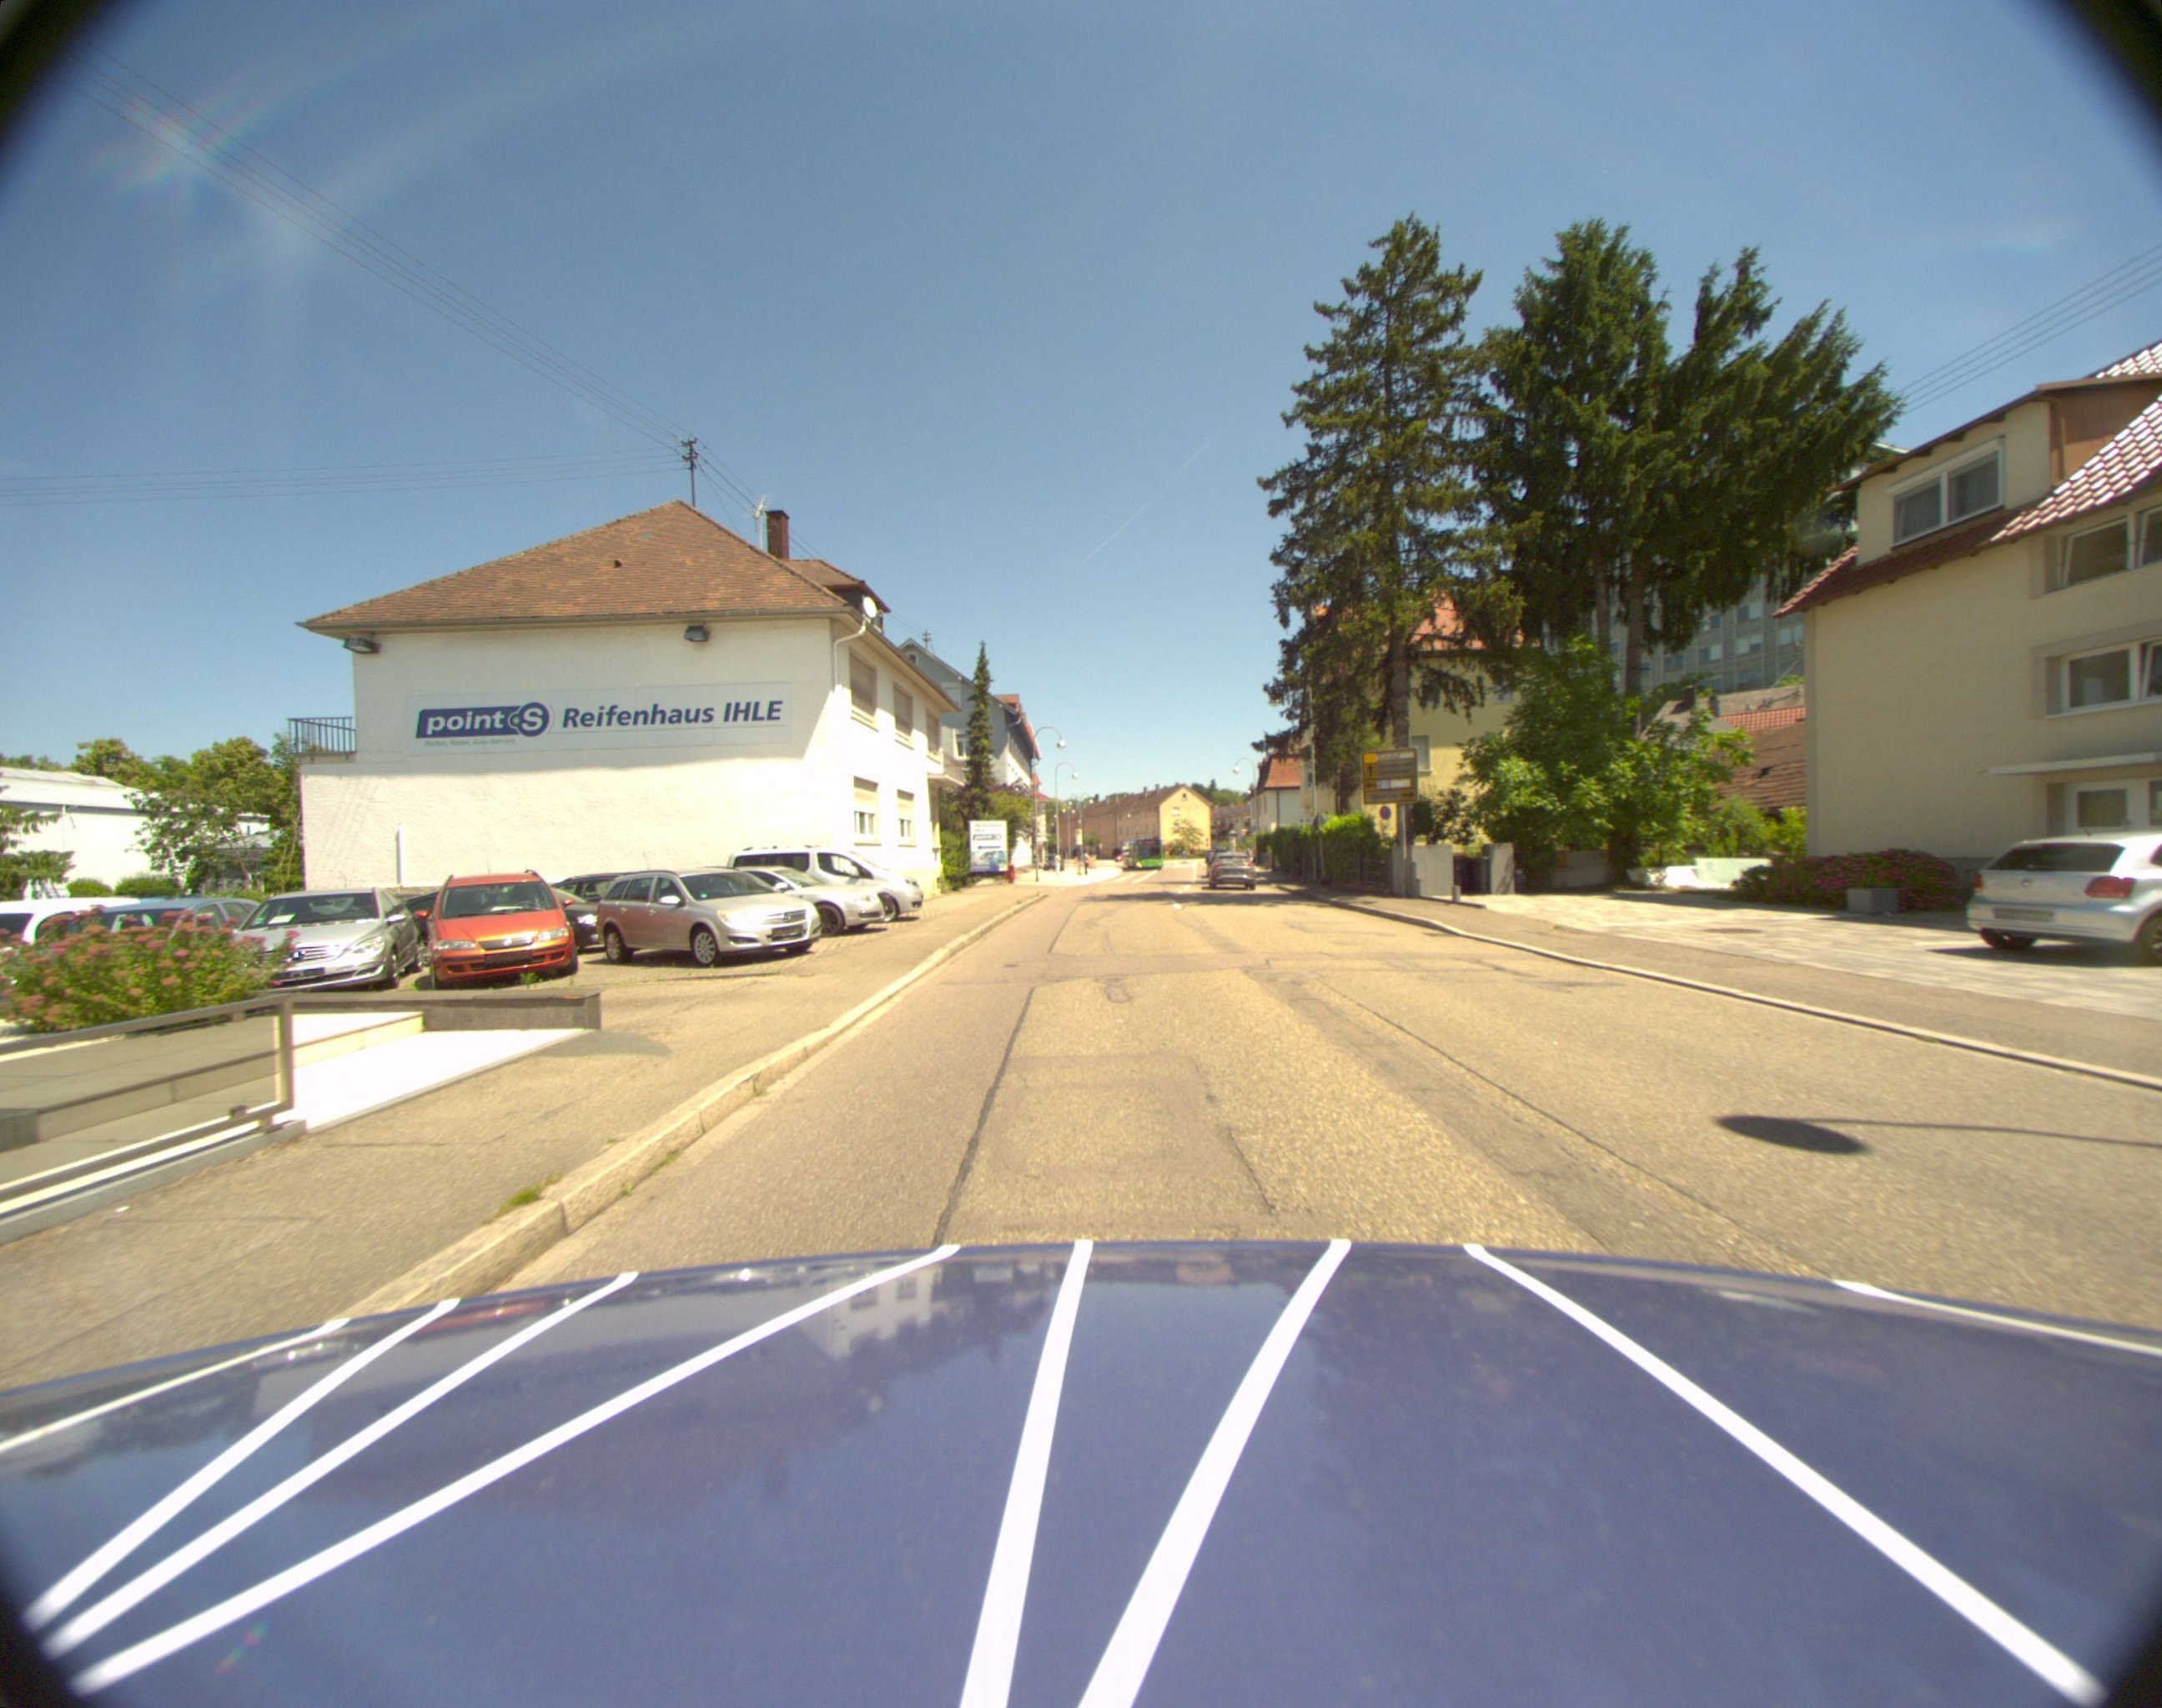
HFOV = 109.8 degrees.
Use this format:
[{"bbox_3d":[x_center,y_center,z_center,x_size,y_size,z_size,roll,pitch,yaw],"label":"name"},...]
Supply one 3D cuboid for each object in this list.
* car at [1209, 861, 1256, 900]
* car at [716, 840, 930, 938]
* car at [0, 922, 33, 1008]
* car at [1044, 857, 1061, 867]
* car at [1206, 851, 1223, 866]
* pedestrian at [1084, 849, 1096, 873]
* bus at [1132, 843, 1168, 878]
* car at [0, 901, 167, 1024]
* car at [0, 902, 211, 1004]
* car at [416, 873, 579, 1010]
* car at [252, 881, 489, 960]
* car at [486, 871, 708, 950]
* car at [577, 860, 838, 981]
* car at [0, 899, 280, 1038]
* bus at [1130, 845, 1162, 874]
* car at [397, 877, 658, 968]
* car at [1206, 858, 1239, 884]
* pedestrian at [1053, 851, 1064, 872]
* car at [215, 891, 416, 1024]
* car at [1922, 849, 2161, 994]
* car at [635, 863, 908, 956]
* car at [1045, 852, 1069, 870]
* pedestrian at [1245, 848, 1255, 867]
[{"bbox_3d":[6.423,1.073,32.569,1.744,1.496,4.145,0,0,8],"label":"car"},{"bbox_3d":[-5.857,0.776,17.695,4.303,1.820,1.738,-4,0,-6],"label":"car"},{"bbox_3d":[-19.621,2.036,12.215,1.557,1.523,3.555,-6,1,-24],"label":"car"},{"bbox_3d":[-4.393,1.186,116.893,1.827,1.403,3.995,0,1,-12],"label":"car"},{"bbox_3d":[15.603,0.484,88.947,1.857,1.607,4.299,-2,0,9],"label":"car"},{"bbox_3d":[0.659,0.523,58.514,0.751,1.795,0.615,2,1,-12],"label":"pedestrian"},{"bbox_3d":[6.835,0.604,76.739,2.910,3.062,12.565,-3,0,2],"label":"bus"},{"bbox_3d":[-17.101,1.724,12.085,1.626,1.714,3.838,-5,0,-24],"label":"car"},{"bbox_3d":[-21.827,2.112,16.208,3.998,1.783,1.999,-3,1,-2],"label":"car"},{"bbox_3d":[-9.263,1.220,11.938,1.641,1.633,4.293,-5,1,-41],"label":"car"},{"bbox_3d":[-16.362,1.516,17.600,3.993,1.477,2.001,-3,1,12],"label":"car"},{"bbox_3d":[-11.163,1.280,17.643,3.993,1.477,2.001,-3,1,12],"label":"car"},{"bbox_3d":[-6.111,1.023,12.264,4.293,1.539,1.759,-4,1,34],"label":"car"},{"bbox_3d":[-14.392,1.597,11.773,1.627,1.553,3.765,-5,1,-30],"label":"car"},{"bbox_3d":[7.505,0.655,89.313,2.928,3.043,12.564,-3,0,2],"label":"bus"},{"bbox_3d":[-11.038,1.346,15.302,3.993,1.477,2.001,-3,1,12],"label":"car"},{"bbox_3d":[8.810,1.009,47.446,1.809,1.480,4.389,0,0,8],"label":"car"},{"bbox_3d":[-1.712,0.566,57.323,0.614,1.606,0.751,1,1,19],"label":"pedestrian"},{"bbox_3d":[-11.688,1.433,11.884,1.716,1.553,4.109,-5,1,-40],"label":"car"},{"bbox_3d":[13.171,0.682,8.825,4.478,1.433,1.847,-2,0,5],"label":"car"},{"bbox_3d":[-6.052,1.064,15.207,4.650,1.400,1.769,-5,0,3],"label":"car"},{"bbox_3d":[-2.138,0.565,68.011,1.762,1.505,3.742,2,1,3],"label":"car"},{"bbox_3d":[14.747,0.321,66.328,0.614,1.555,0.824,-7,0,6],"label":"pedestrian"}]
